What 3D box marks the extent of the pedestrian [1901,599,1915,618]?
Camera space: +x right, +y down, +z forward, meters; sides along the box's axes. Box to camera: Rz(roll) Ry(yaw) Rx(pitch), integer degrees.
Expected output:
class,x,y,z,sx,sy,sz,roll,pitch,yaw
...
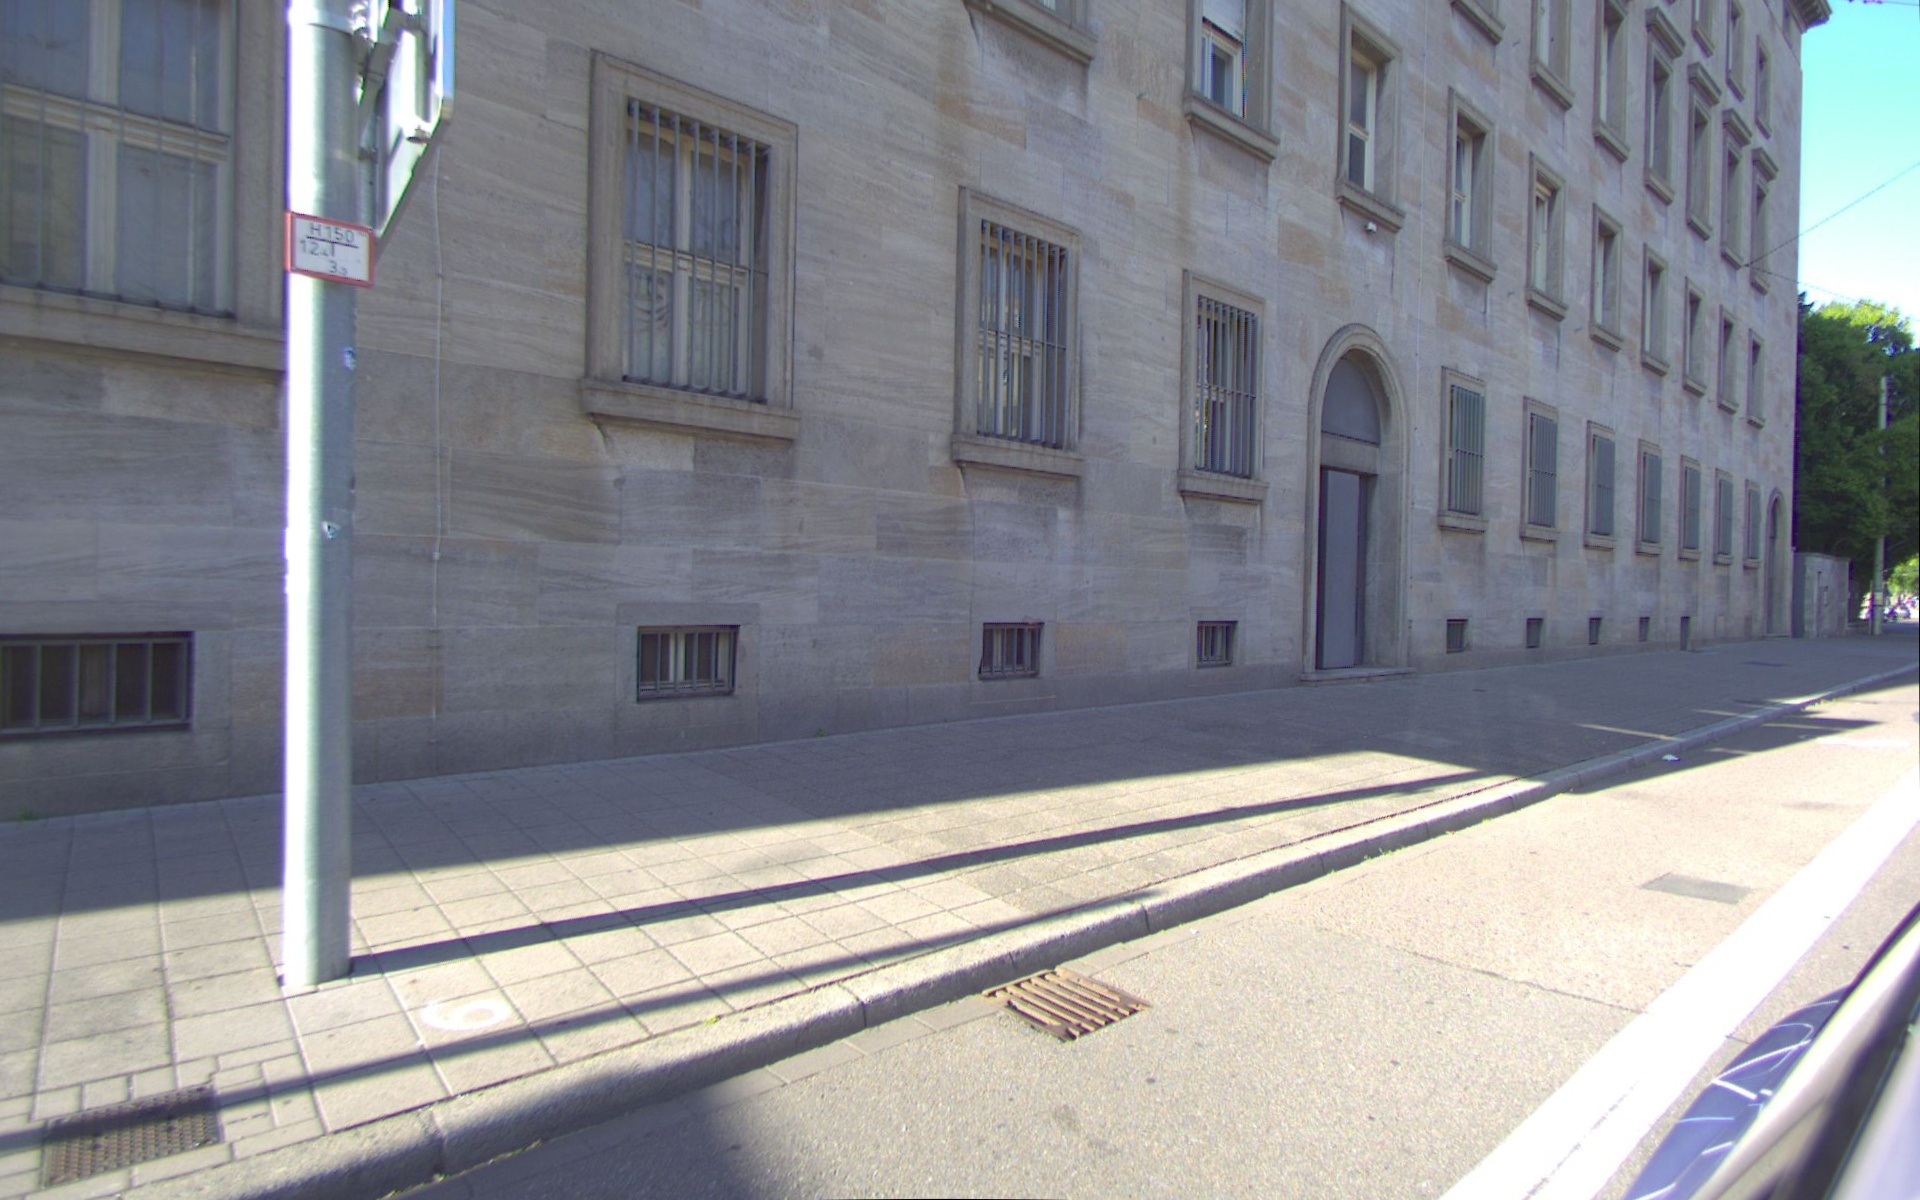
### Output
class,x,y,z,sx,sy,sz,roll,pitch,yaw
pedestrian,86.521,0.757,92.350,0.791,1.742,0.870,1,1,-44

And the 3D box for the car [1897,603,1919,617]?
class,x,y,z,sx,sy,sz,roll,pitch,yaw
car,118.608,1.207,126.143,1.863,1.621,4.376,2,1,32
